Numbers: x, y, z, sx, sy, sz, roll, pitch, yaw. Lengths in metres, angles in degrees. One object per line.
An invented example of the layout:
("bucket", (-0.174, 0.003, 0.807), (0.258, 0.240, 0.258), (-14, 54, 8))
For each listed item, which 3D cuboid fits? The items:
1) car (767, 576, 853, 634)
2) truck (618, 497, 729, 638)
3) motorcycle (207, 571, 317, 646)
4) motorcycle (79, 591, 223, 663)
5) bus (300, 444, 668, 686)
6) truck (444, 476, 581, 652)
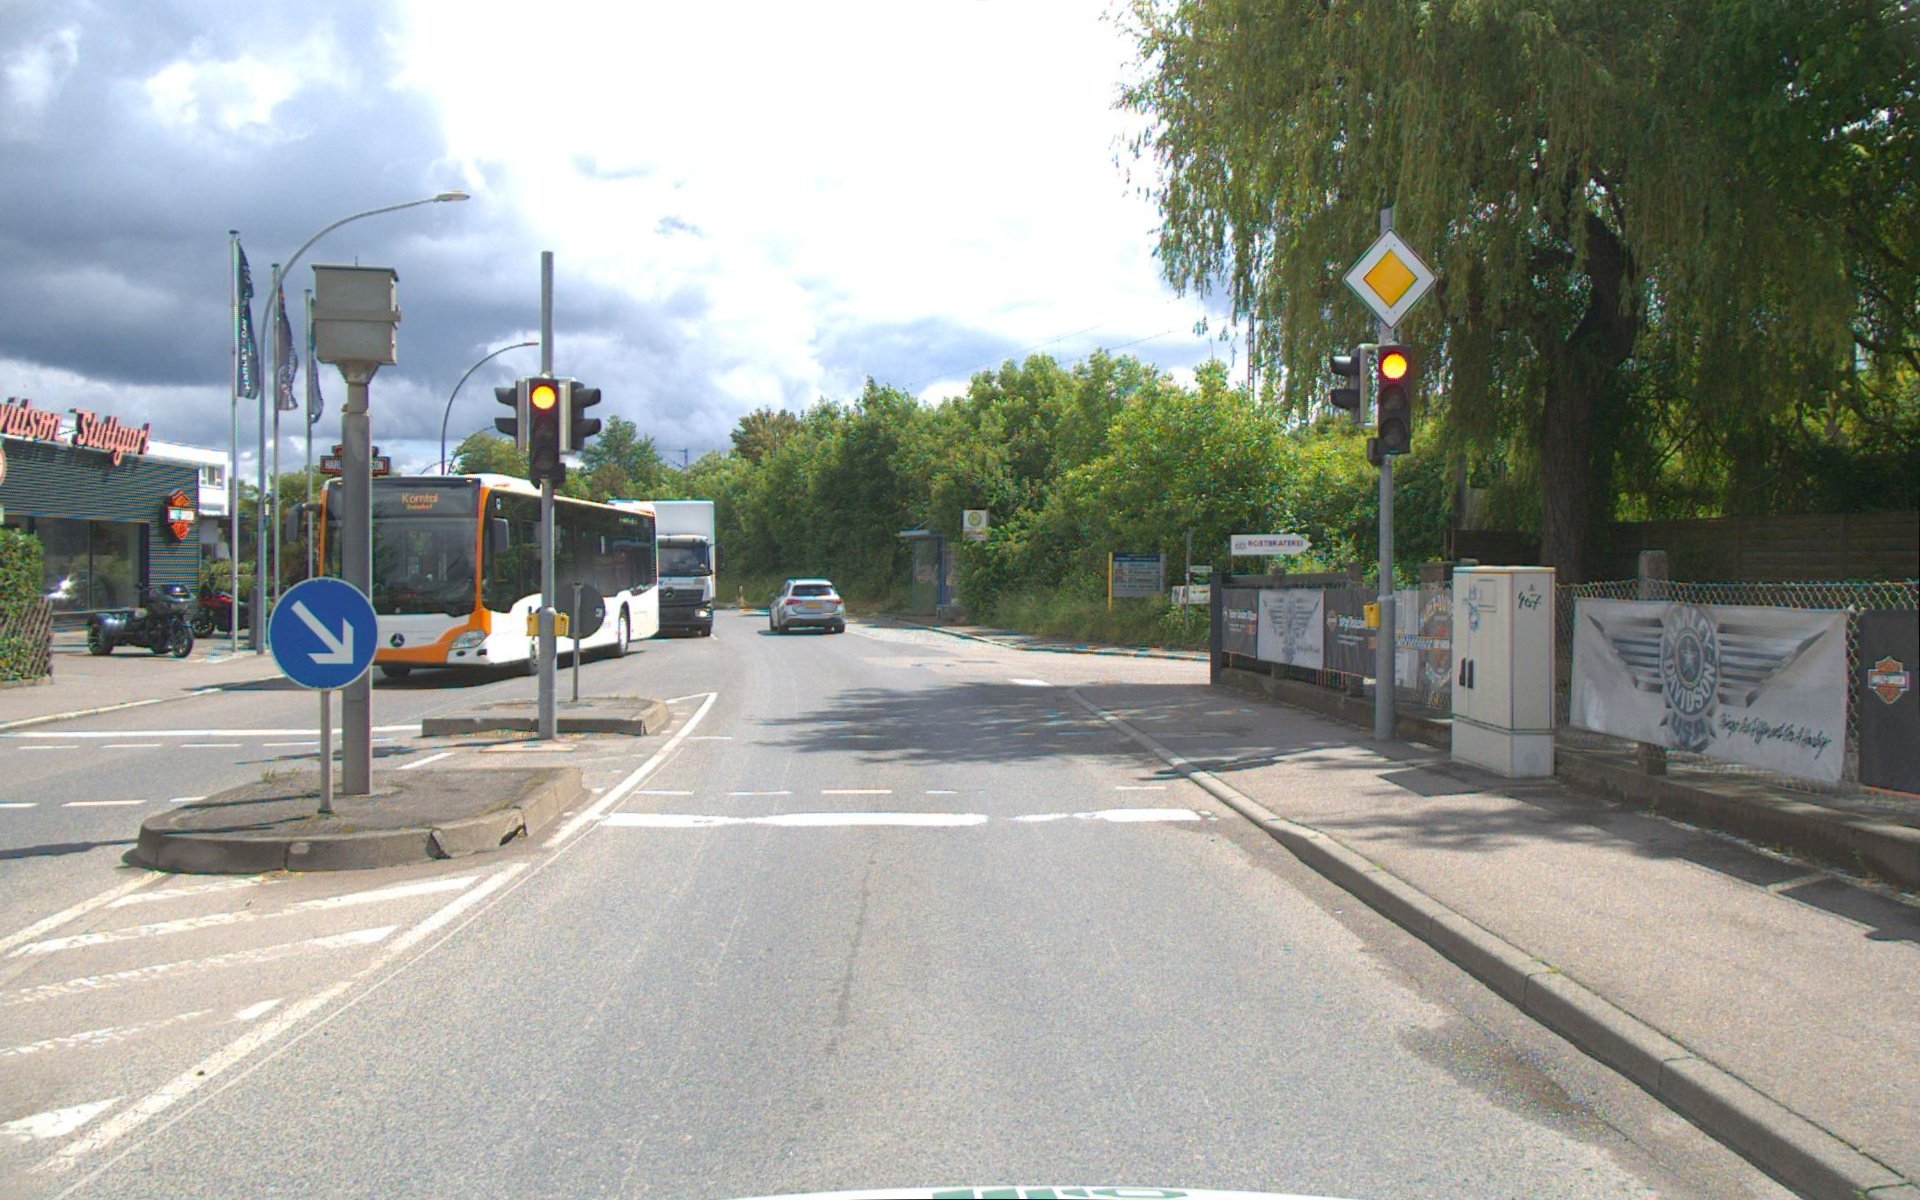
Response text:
("car", (-4.187, 0.107, 45.702), (1.852, 1.534, 3.987), (0, 1, -13))
("truck", (-8.201, -0.888, 47.061), (2.788, 3.602, 9.700), (0, 1, -11))
("motorcycle", (-16.406, 0.194, 38.894), (2.254, 1.713, 1.042), (1, 0, 20))
("motorcycle", (-14.826, 0.480, 30.308), (2.448, 1.239, 0.927), (1, 0, 20))
("bus", (-7.722, -0.510, 29.159), (2.720, 3.323, 12.125), (-1, 0, 1))
("truck", (-11.939, -0.903, 44.836), (2.384, 4.203, 9.132), (2, 0, -8))
